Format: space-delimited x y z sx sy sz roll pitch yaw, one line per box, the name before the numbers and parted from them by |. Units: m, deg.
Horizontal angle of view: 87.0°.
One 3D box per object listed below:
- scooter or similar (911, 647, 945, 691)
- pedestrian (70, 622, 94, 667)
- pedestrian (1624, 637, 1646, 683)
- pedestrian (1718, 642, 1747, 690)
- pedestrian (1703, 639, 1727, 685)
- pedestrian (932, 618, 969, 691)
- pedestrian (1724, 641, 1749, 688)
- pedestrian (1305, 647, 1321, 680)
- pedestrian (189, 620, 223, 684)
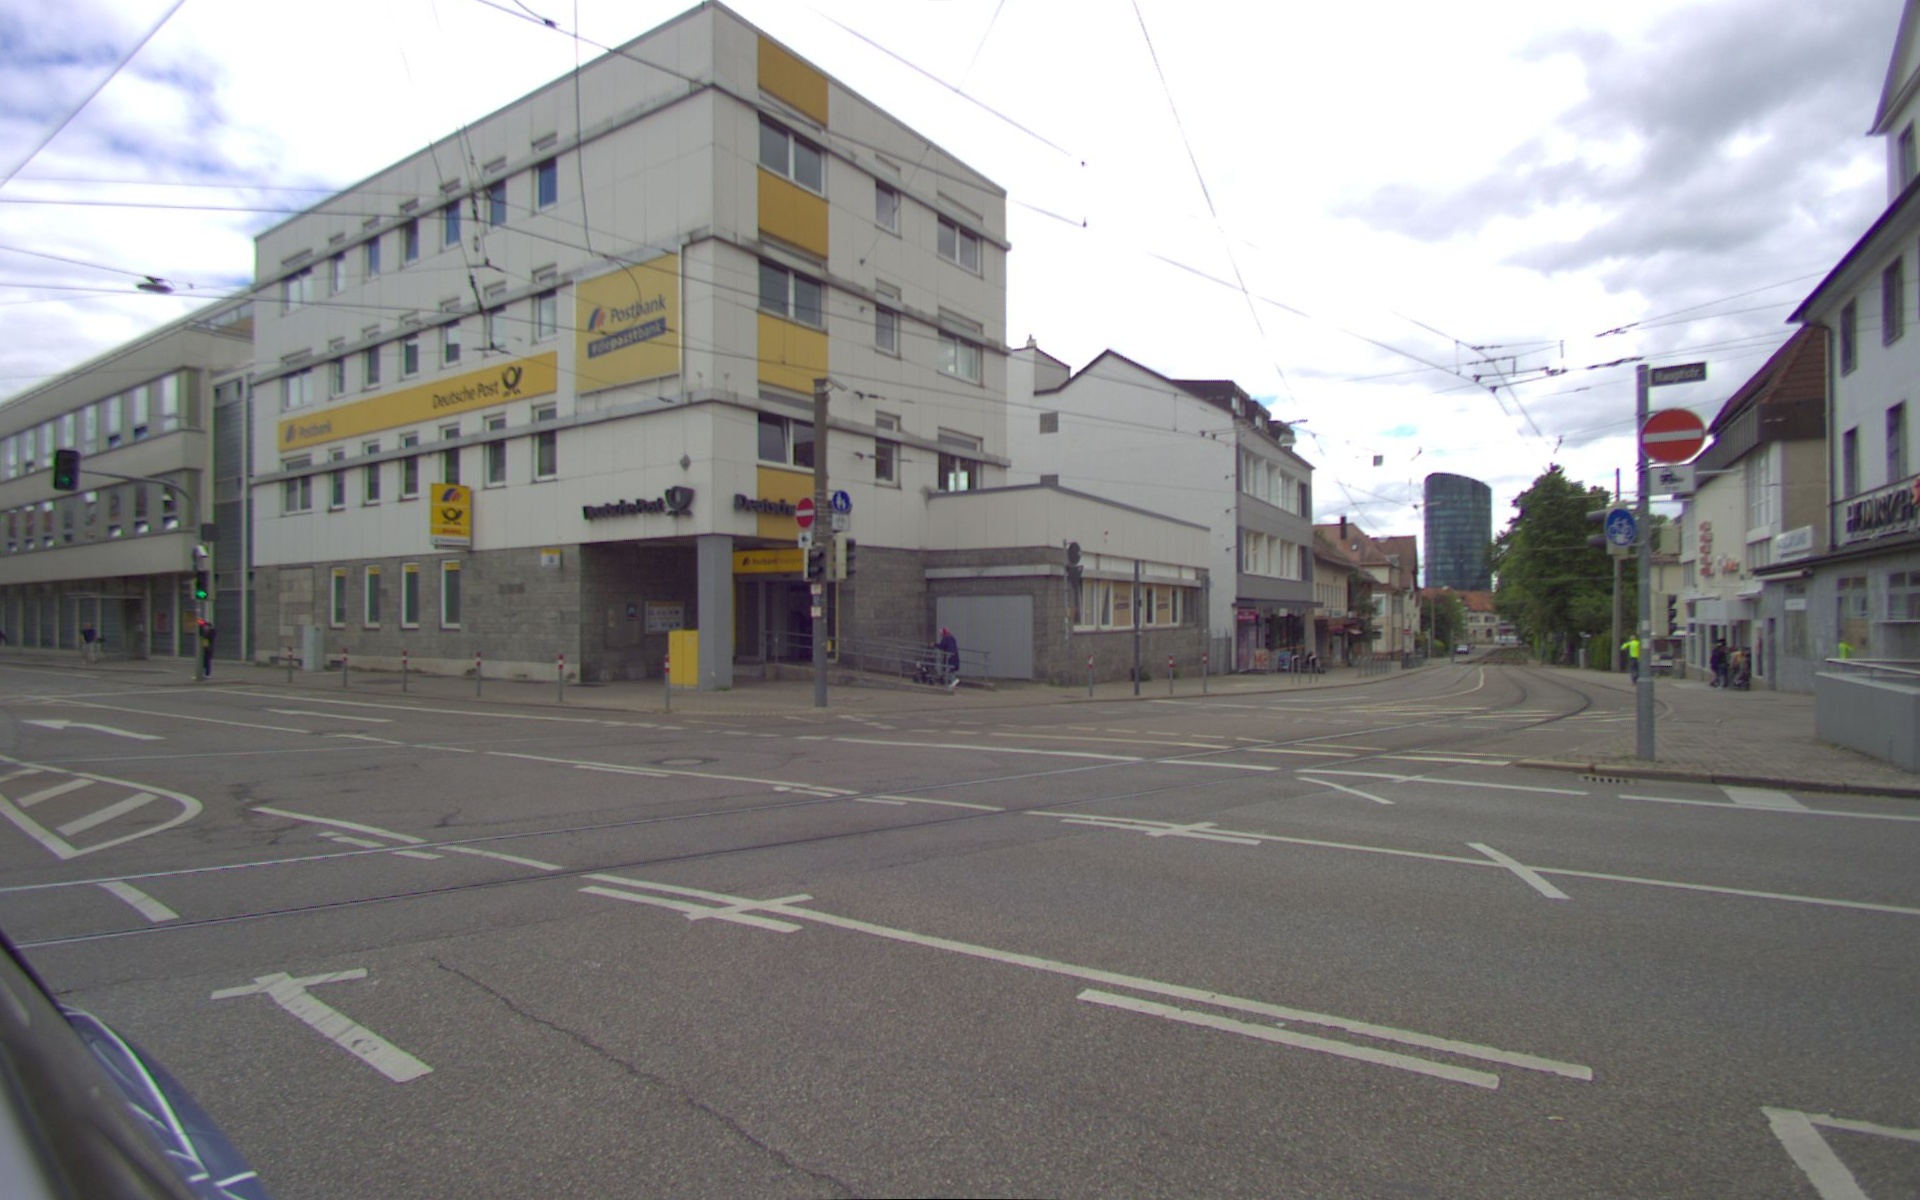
scooter or similar | -0.744 1.606 23.673 0.615 0.984 0.503 -1 -1 32
pedestrian | -36.481 1.827 42.045 0.525 1.816 0.581 -2 1 35
pedestrian | 24.975 2.198 37.429 0.585 1.646 0.609 -2 1 29
pedestrian | 27.684 2.366 36.279 0.609 1.646 0.585 -2 1 14
pedestrian | 28.043 2.304 37.582 0.612 1.646 0.582 -2 1 30
pedestrian | -0.215 1.244 23.364 0.613 1.647 0.581 -2 -2 35
pedestrian | 28.145 2.325 36.684 0.612 1.646 0.582 -2 1 30
pedestrian | 18.434 3.316 52.827 0.612 1.646 0.688 -2 1 29
pedestrian | -22.045 1.500 29.580 0.525 1.816 0.581 -2 1 35
